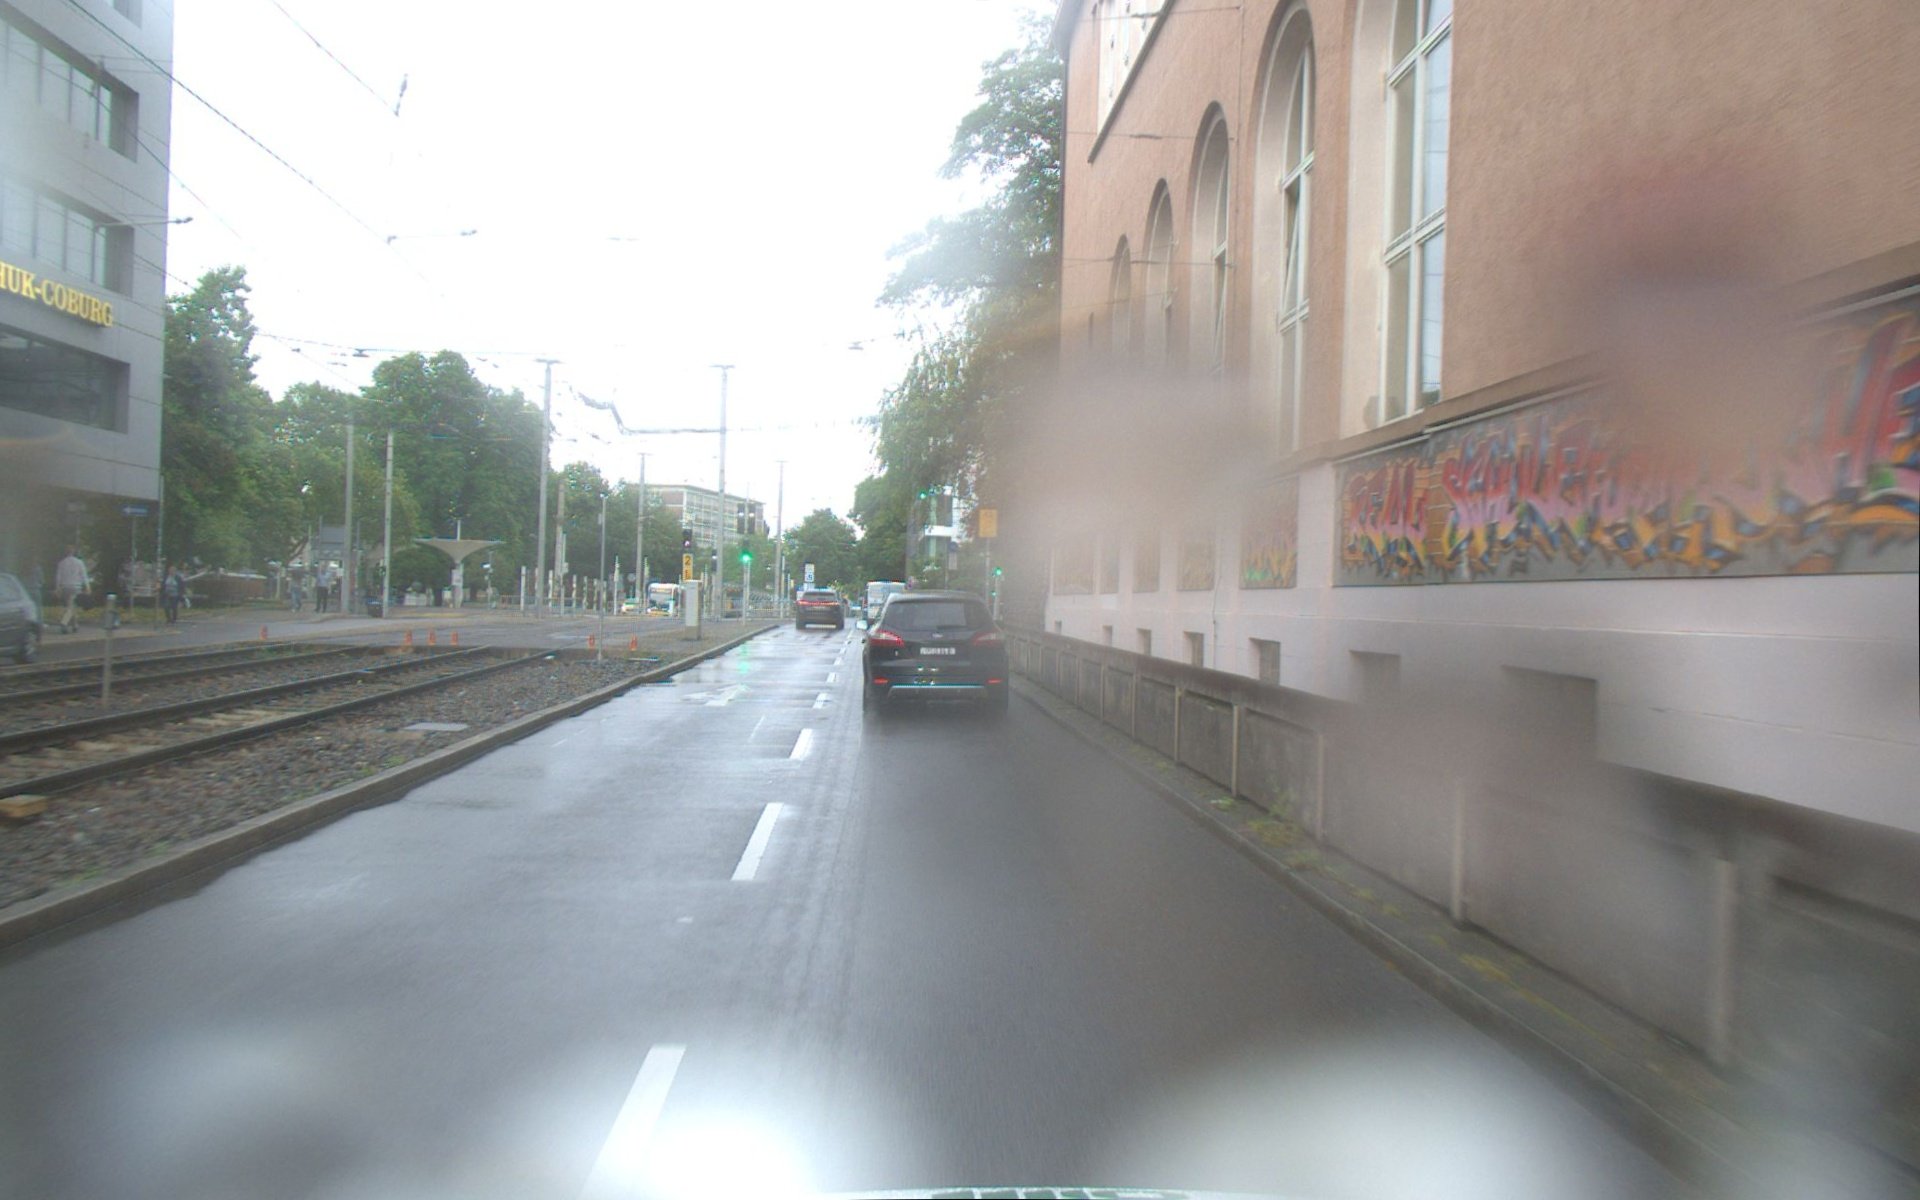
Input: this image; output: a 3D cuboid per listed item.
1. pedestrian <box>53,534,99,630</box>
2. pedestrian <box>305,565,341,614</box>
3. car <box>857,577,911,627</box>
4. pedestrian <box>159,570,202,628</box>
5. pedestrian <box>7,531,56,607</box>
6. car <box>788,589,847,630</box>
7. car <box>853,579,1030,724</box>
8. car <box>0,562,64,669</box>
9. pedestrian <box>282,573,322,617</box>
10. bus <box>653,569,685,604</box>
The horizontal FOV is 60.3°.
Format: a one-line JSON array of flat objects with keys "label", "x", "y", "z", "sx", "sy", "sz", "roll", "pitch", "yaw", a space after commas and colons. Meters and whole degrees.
[{"label": "pedestrian", "x": -19.302, "y": -0.393, "z": 36.113, "sx": 0.657, "sy": 2.049, "sz": 0.608, "roll": 3, "pitch": -1, "yaw": -42}, {"label": "pedestrian", "x": -25.741, "y": -0.430, "z": 66.821, "sx": 0.986, "sy": 1.895, "sz": 0.907, "roll": 3, "pitch": -1, "yaw": 43}, {"label": "car", "x": -3.030, "y": 0.069, "z": 66.540, "sx": 1.994, "sy": 1.872, "sz": 4.391, "roll": 2, "pitch": 0, "yaw": -1}, {"label": "pedestrian", "x": -22.461, "y": -0.027, "z": 47.668, "sx": 0.956, "sy": 1.622, "sz": 0.581, "roll": 3, "pitch": -1, "yaw": -37}, {"label": "pedestrian", "x": -20.206, "y": -0.666, "z": 35.991, "sx": 0.574, "sy": 1.622, "sz": 0.636, "roll": 3, "pitch": 0, "yaw": 14}, {"label": "car", "x": -5.576, "y": 0.353, "z": 65.092, "sx": 2.056, "sy": 1.532, "sz": 4.730, "roll": 0, "pitch": 0, "yaw": -2}, {"label": "car", "x": -0.320, "y": 0.574, "z": 21.166, "sx": 1.995, "sy": 1.612, "sz": 4.389, "roll": 2, "pitch": 0, "yaw": -3}, {"label": "car", "x": -14.918, "y": 0.254, "z": 23.918, "sx": 1.902, "sy": 1.563, "sz": 4.343, "roll": -2, "pitch": 1, "yaw": -7}, {"label": "pedestrian", "x": -25.291, "y": -0.192, "z": 63.599, "sx": 0.893, "sy": 1.622, "sz": 1.002, "roll": 3, "pitch": 0, "yaw": 28}, {"label": "bus", "x": -28.810, "y": -1.275, "z": 164.037, "sx": 3.020, "sy": 3.358, "sz": 12.495, "roll": 0, "pitch": 0, "yaw": -9}]
